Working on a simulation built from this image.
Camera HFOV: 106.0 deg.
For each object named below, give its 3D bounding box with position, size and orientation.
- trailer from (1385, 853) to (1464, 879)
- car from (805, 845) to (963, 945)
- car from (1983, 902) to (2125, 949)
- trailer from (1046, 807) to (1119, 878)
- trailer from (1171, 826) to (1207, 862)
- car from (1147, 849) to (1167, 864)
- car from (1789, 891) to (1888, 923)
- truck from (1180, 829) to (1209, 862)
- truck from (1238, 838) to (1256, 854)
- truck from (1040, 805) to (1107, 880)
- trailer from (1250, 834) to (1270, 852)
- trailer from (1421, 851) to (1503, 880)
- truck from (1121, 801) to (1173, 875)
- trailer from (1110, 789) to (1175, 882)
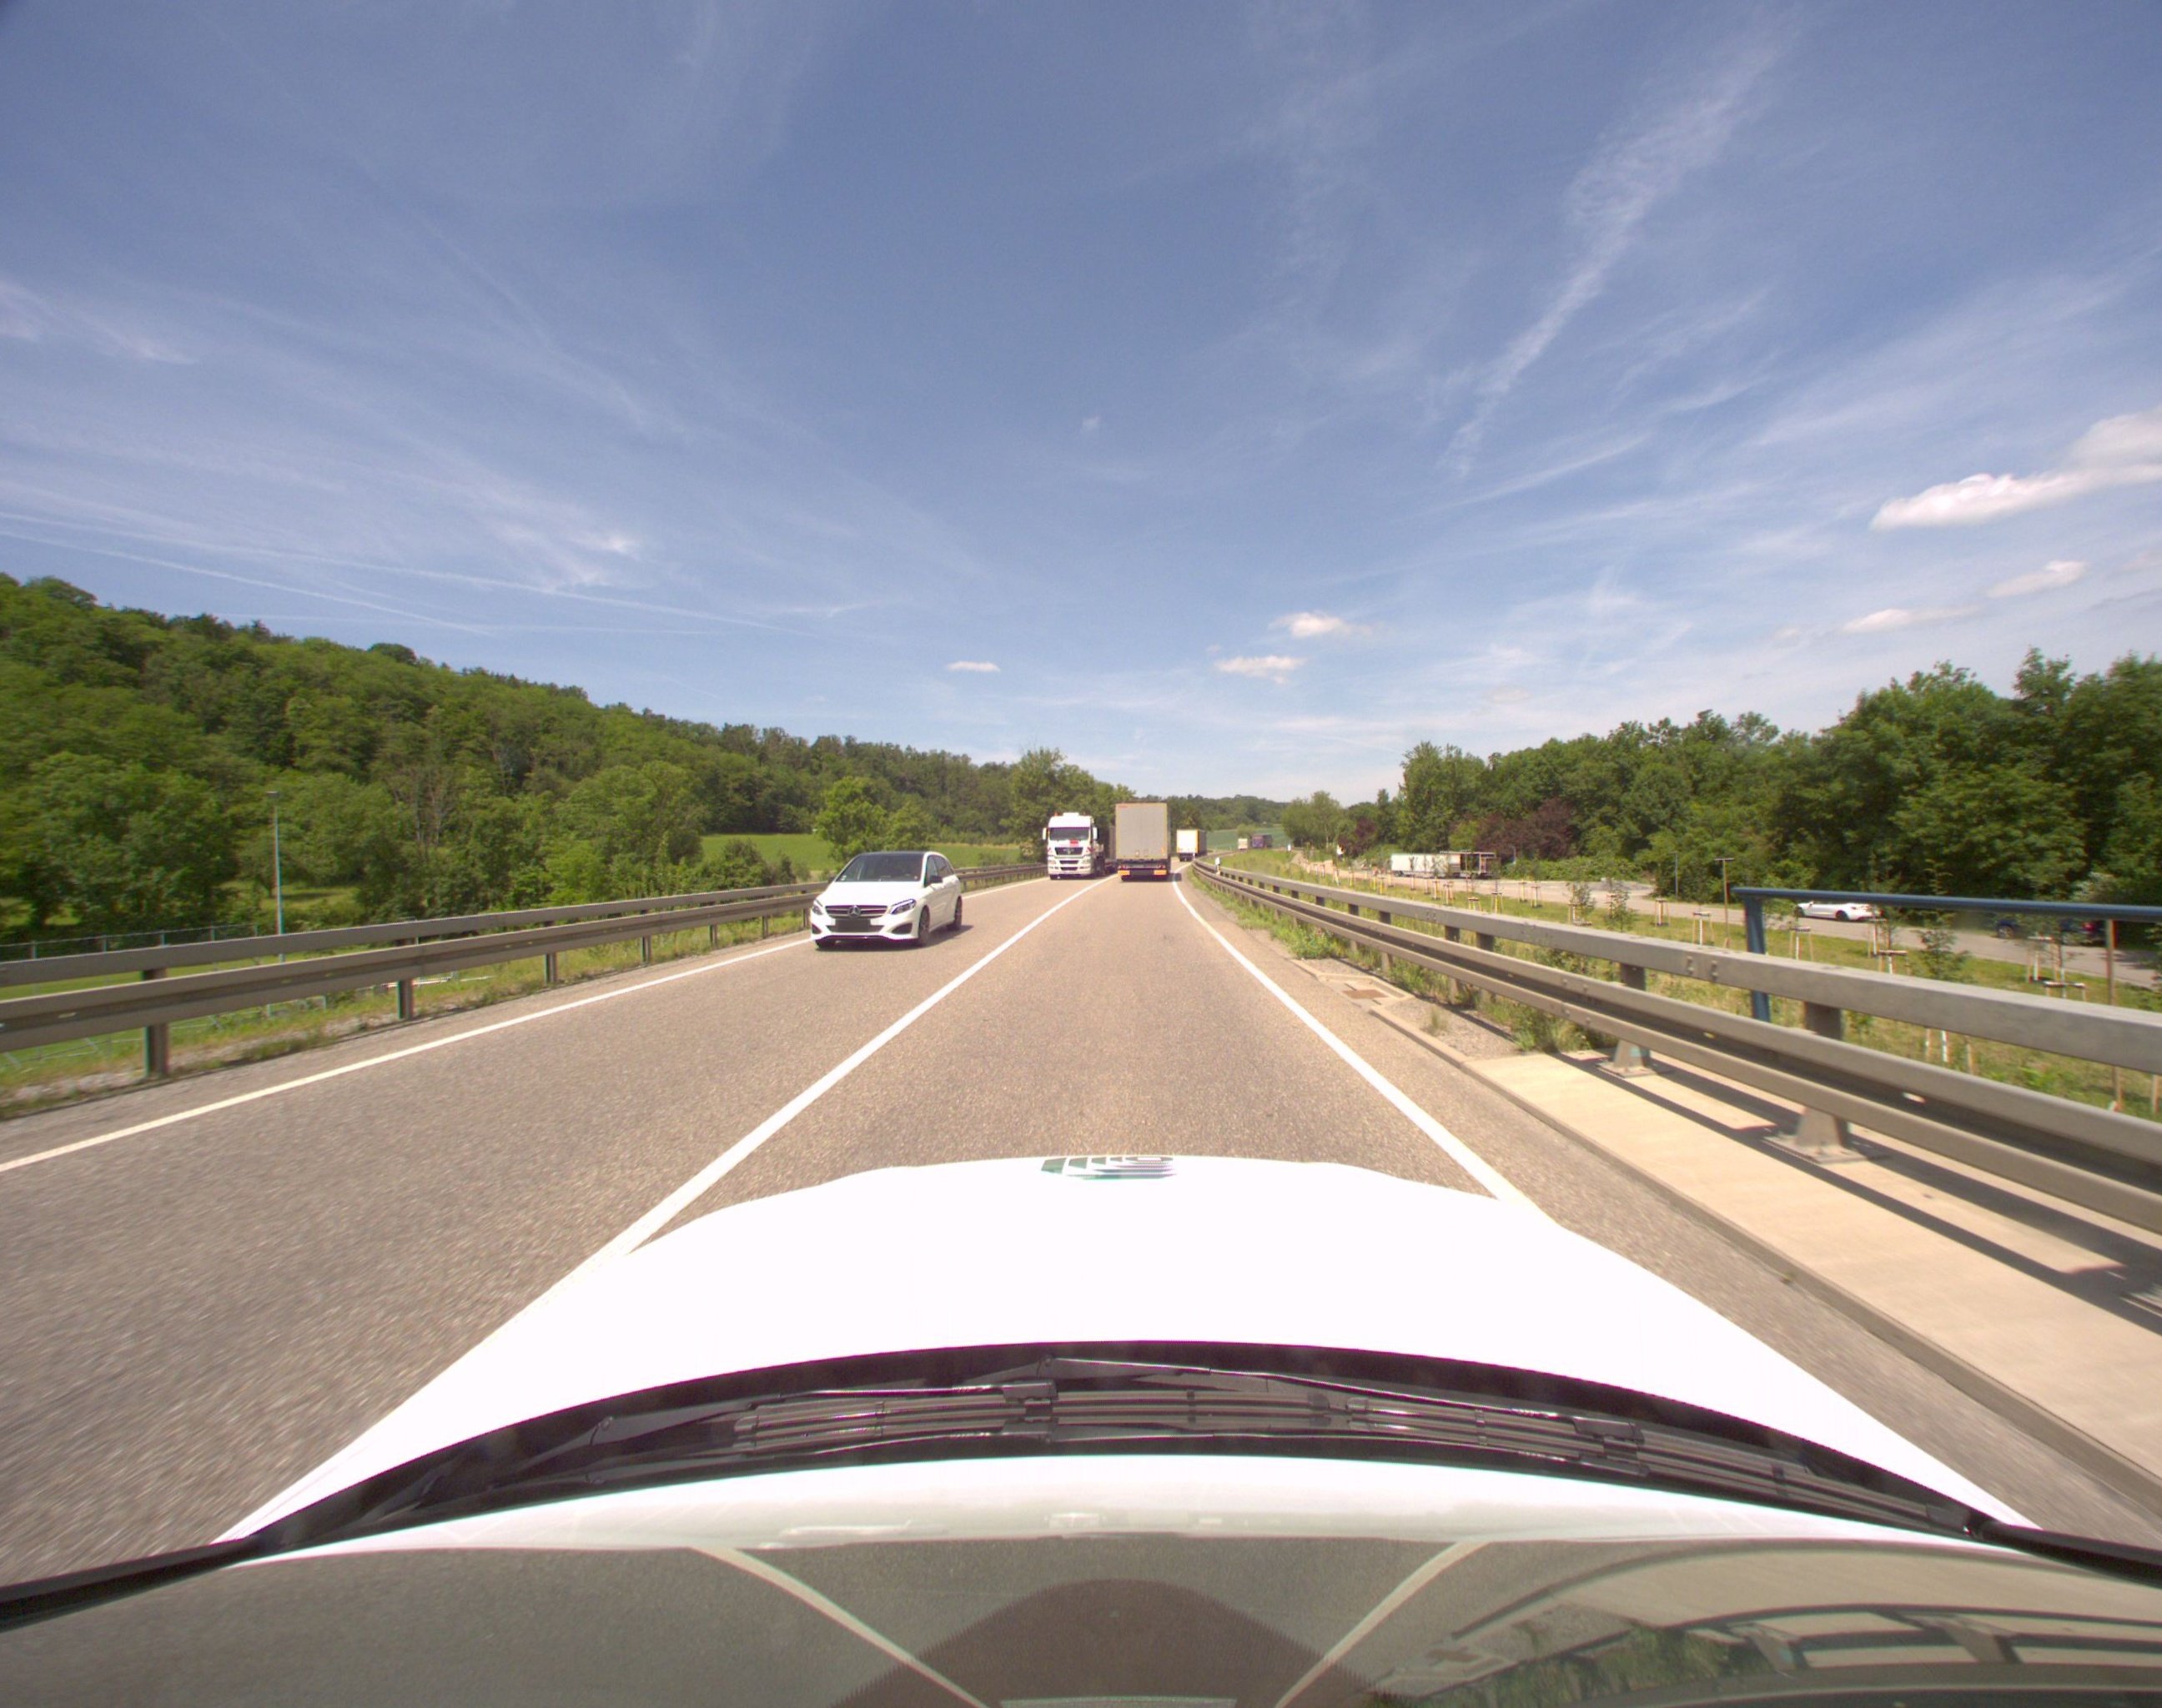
[{"bbox_3d":[47.033,1.577,112.132,2.727,3.327,11.817,-1,0,-19],"label":"trailer"},{"bbox_3d":[-3.304,0.623,14.487,1.751,1.511,4.001,0,0,1],"label":"car"},{"bbox_3d":[46.776,3.396,39.289,1.850,1.682,4.202,-4,1,2],"label":"car"},{"bbox_3d":[0.447,-0.707,53.846,3.102,3.979,15.383,-1,0,6],"label":"trailer"},{"bbox_3d":[14.305,-1.140,106.432,3.342,4.317,13.912,-1,-1,13],"label":"trailer"},{"bbox_3d":[9.516,0.332,101.608,1.910,1.860,5.190,-1,0,10],"label":"car"},{"bbox_3d":[46.911,3.257,50.585,1.852,1.482,4.607,-4,0,0],"label":"car"},{"bbox_3d":[15.819,-1.105,112.821,3.342,4.317,6.764,-1,-1,13],"label":"truck"},{"bbox_3d":[38.042,-1.782,186.093,3.199,3.365,11.923,-1,-1,15],"label":"truck"},{"bbox_3d":[-0.320,-0.627,47.081,3.103,3.957,6.633,-1,0,6],"label":"truck"},{"bbox_3d":[45.844,-2.804,207.991,3.618,4.263,12.252,-1,-1,18],"label":"trailer"},{"bbox_3d":[51.064,1.415,109.644,2.725,3.606,11.825,0,0,-17],"label":"trailer"},{"bbox_3d":[4.361,-0.981,52.890,3.102,4.494,6.823,-1,0,6],"label":"truck"},{"bbox_3d":[3.642,-0.948,46.219,3.103,4.499,13.908,-1,0,6],"label":"trailer"}]
